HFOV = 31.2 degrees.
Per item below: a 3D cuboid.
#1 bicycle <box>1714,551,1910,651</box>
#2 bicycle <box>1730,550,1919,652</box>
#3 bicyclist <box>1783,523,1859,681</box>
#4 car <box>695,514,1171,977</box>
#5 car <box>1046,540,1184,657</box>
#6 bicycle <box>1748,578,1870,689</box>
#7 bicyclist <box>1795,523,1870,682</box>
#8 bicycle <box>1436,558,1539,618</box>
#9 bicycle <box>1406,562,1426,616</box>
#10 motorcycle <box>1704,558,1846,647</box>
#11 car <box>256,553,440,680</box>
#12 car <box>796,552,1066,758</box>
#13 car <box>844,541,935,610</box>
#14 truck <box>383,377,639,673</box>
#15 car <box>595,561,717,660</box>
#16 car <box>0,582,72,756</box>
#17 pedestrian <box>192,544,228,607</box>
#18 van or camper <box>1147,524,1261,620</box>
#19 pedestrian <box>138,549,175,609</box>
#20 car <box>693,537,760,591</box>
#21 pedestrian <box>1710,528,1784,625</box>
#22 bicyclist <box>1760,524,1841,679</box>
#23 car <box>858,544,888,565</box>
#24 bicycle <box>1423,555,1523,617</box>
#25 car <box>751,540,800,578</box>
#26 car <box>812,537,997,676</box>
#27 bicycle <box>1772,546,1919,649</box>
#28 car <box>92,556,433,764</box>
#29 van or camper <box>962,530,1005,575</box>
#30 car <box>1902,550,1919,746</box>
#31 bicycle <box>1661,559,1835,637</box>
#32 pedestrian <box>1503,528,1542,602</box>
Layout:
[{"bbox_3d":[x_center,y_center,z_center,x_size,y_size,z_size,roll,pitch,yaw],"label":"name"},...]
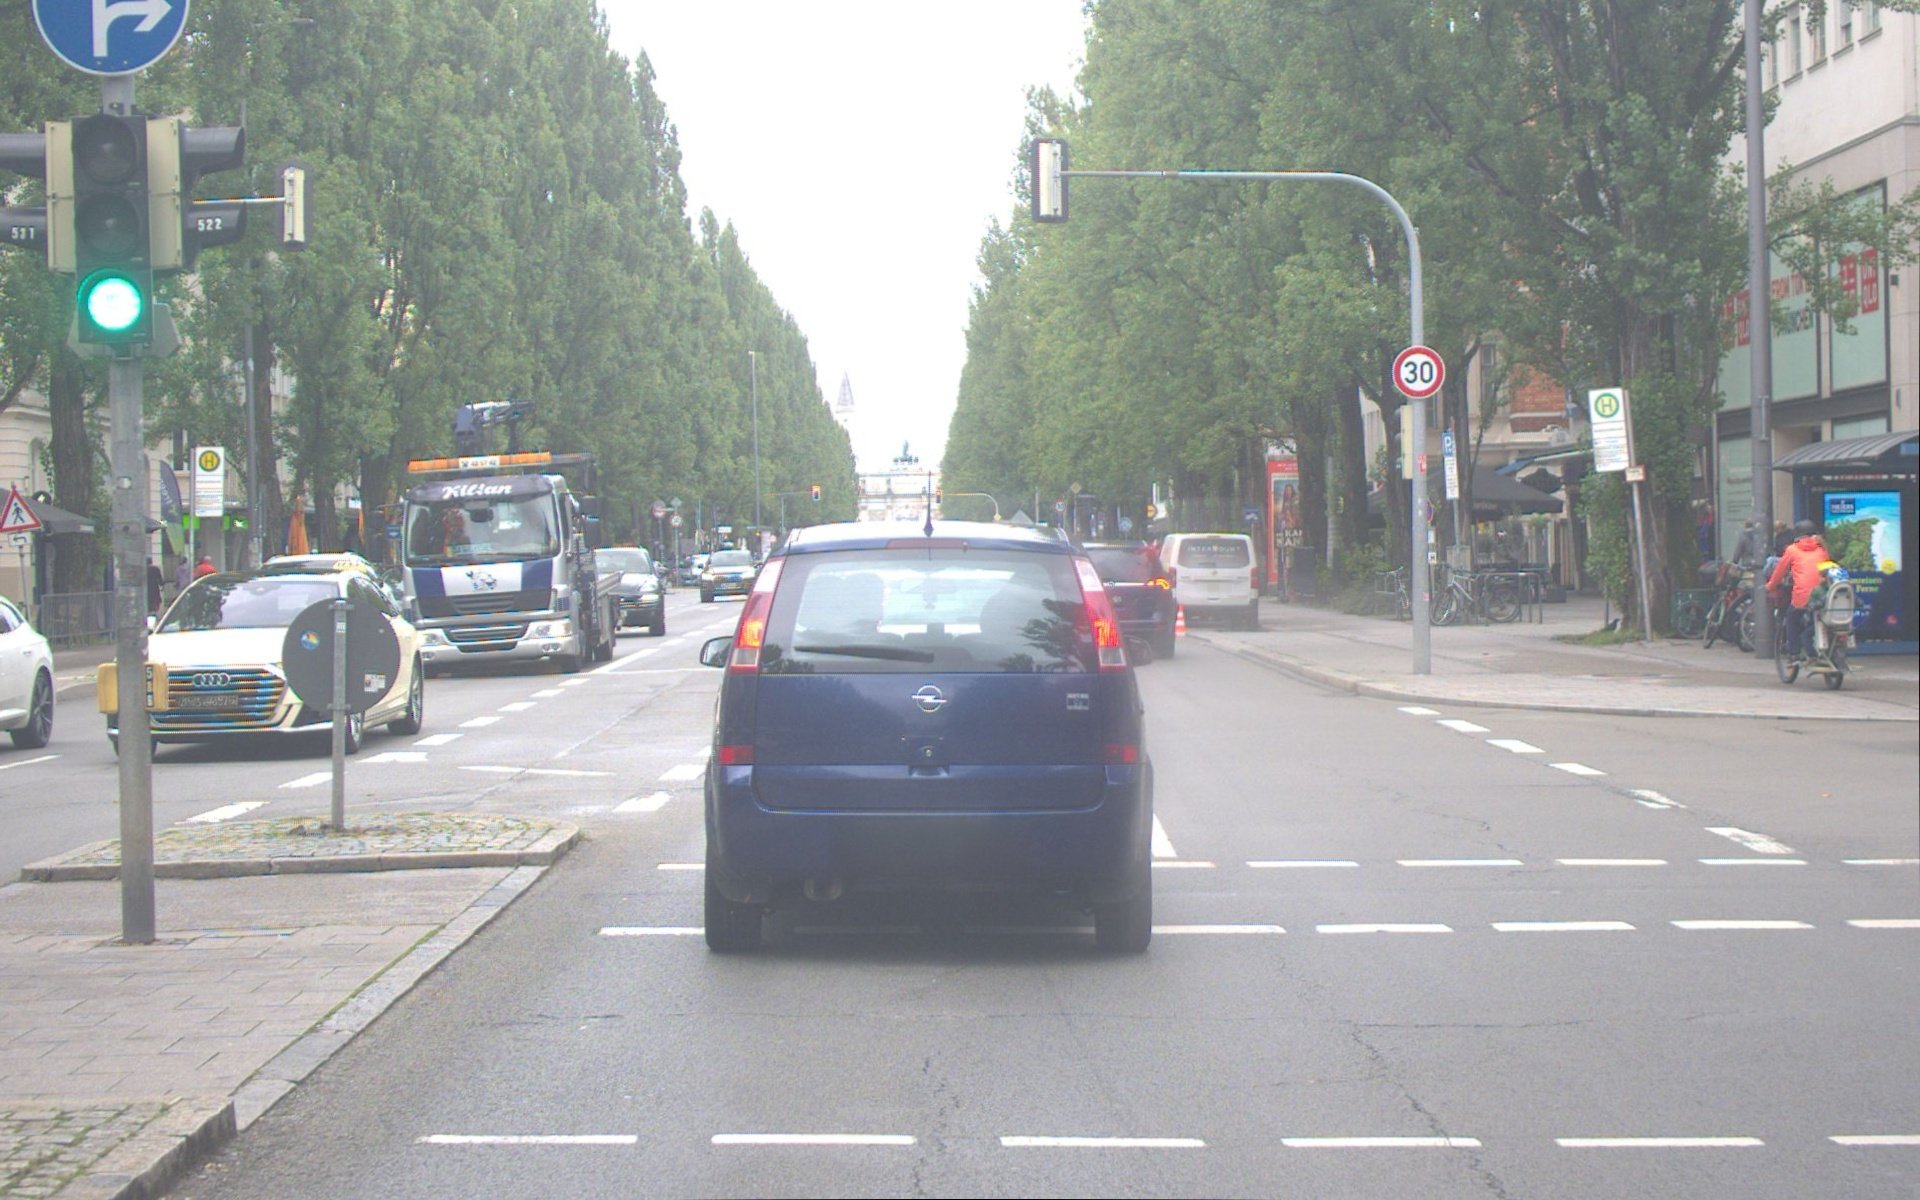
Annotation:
[{"bbox_3d":[10.911,0.010,44.070,2.343,1.248,0.633,-1,1,-1],"label":"bicycle"},{"bbox_3d":[10.952,0.006,43.458,2.315,1.248,0.477,-1,1,-1],"label":"bicycle"},{"bbox_3d":[8.790,0.015,35.095,0.621,1.583,0.481,-1,1,-1],"label":"bicyclist"},{"bbox_3d":[-0.155,0.476,14.161,1.681,1.635,4.000,0,1,-2],"label":"car"},{"bbox_3d":[2.166,-0.056,48.820,1.706,1.568,4.000,-1,1,-1],"label":"car"},{"bbox_3d":[8.782,0.328,35.643,0.626,1.083,2.264,-1,1,-2],"label":"bicycle"},{"bbox_3d":[8.806,0.019,34.700,0.621,1.583,0.391,-1,1,-1],"label":"bicyclist"},{"bbox_3d":[9.540,-0.221,62.202,1.757,1.040,0.484,-1,1,-10],"label":"bicycle"},{"bbox_3d":[8.995,-0.216,67.780,0.364,1.034,1.730,-1,1,7],"label":"bicycle"},{"bbox_3d":[10.639,0.030,44.895,1.724,1.136,0.510,-1,1,1],"label":"motorcycle"},{"bbox_3d":[-8.903,0.193,50.373,1.837,1.710,4.636,-2,1,0],"label":"car"},{"bbox_3d":[-0.272,0.382,27.745,1.993,1.492,4.000,-1,1,-2],"label":"car"},{"bbox_3d":[-1.607,-0.575,77.562,1.993,1.492,4.000,-1,1,-2],"label":"car"},{"bbox_3d":[-6.018,-1.012,47.250,2.463,3.657,8.440,-1,1,-1],"label":"truck"},{"bbox_3d":[-5.685,0.164,64.646,1.884,1.740,4.439,-1,1,0],"label":"car"},{"bbox_3d":[-8.782,0.598,28.204,1.823,1.403,4.633,-2,1,-1],"label":"car"},{"bbox_3d":[-19.875,-0.653,91.116,0.734,1.667,0.952,-1,1,-1],"label":"pedestrian"},{"bbox_3d":[4.913,-0.587,69.675,1.868,1.876,4.903,0,1,-1],"label":"van or camper"},{"bbox_3d":[-20.776,-0.535,88.908,0.768,1.532,0.805,-1,1,-1],"label":"pedestrian"},{"bbox_3d":[-7.614,-1.193,112.439,1.913,1.675,4.586,-1,1,-1],"label":"car"},{"bbox_3d":[13.781,-0.417,60.203,0.984,1.668,0.825,-2,1,-39],"label":"pedestrian"},{"bbox_3d":[8.767,0.008,35.862,0.621,1.583,0.753,-1,1,-1],"label":"bicyclist"},{"bbox_3d":[-5.810,-3.032,228.818,1.961,1.395,3.779,-1,1,-1],"label":"car"},{"bbox_3d":[9.379,-0.257,62.882,1.737,1.106,0.448,-1,1,-10],"label":"bicycle"},{"bbox_3d":[-7.970,-1.787,149.016,1.935,1.618,4.337,-1,1,-1],"label":"car"},{"bbox_3d":[-0.666,0.034,39.646,1.993,1.492,4.000,-1,1,-2],"label":"car"},{"bbox_3d":[11.112,-0.032,42.067,2.242,1.248,0.476,0,1,24],"label":"bicycle"},{"bbox_3d":[-5.645,0.423,28.448,1.843,1.496,4.986,-2,1,-1],"label":"car"},{"bbox_3d":[1.383,-2.845,206.183,2.476,2.572,5.844,-1,1,0],"label":"van or camper"},{"bbox_3d":[9.117,0.336,25.254,3.988,1.456,1.759,-1,1,6],"label":"car"},{"bbox_3d":[10.695,-0.035,46.727,2.148,1.013,0.874,-1,1,-1],"label":"bicycle"},{"bbox_3d":[14.271,-0.895,87.225,0.826,1.834,1.099,-1,1,2],"label":"pedestrian"}]
